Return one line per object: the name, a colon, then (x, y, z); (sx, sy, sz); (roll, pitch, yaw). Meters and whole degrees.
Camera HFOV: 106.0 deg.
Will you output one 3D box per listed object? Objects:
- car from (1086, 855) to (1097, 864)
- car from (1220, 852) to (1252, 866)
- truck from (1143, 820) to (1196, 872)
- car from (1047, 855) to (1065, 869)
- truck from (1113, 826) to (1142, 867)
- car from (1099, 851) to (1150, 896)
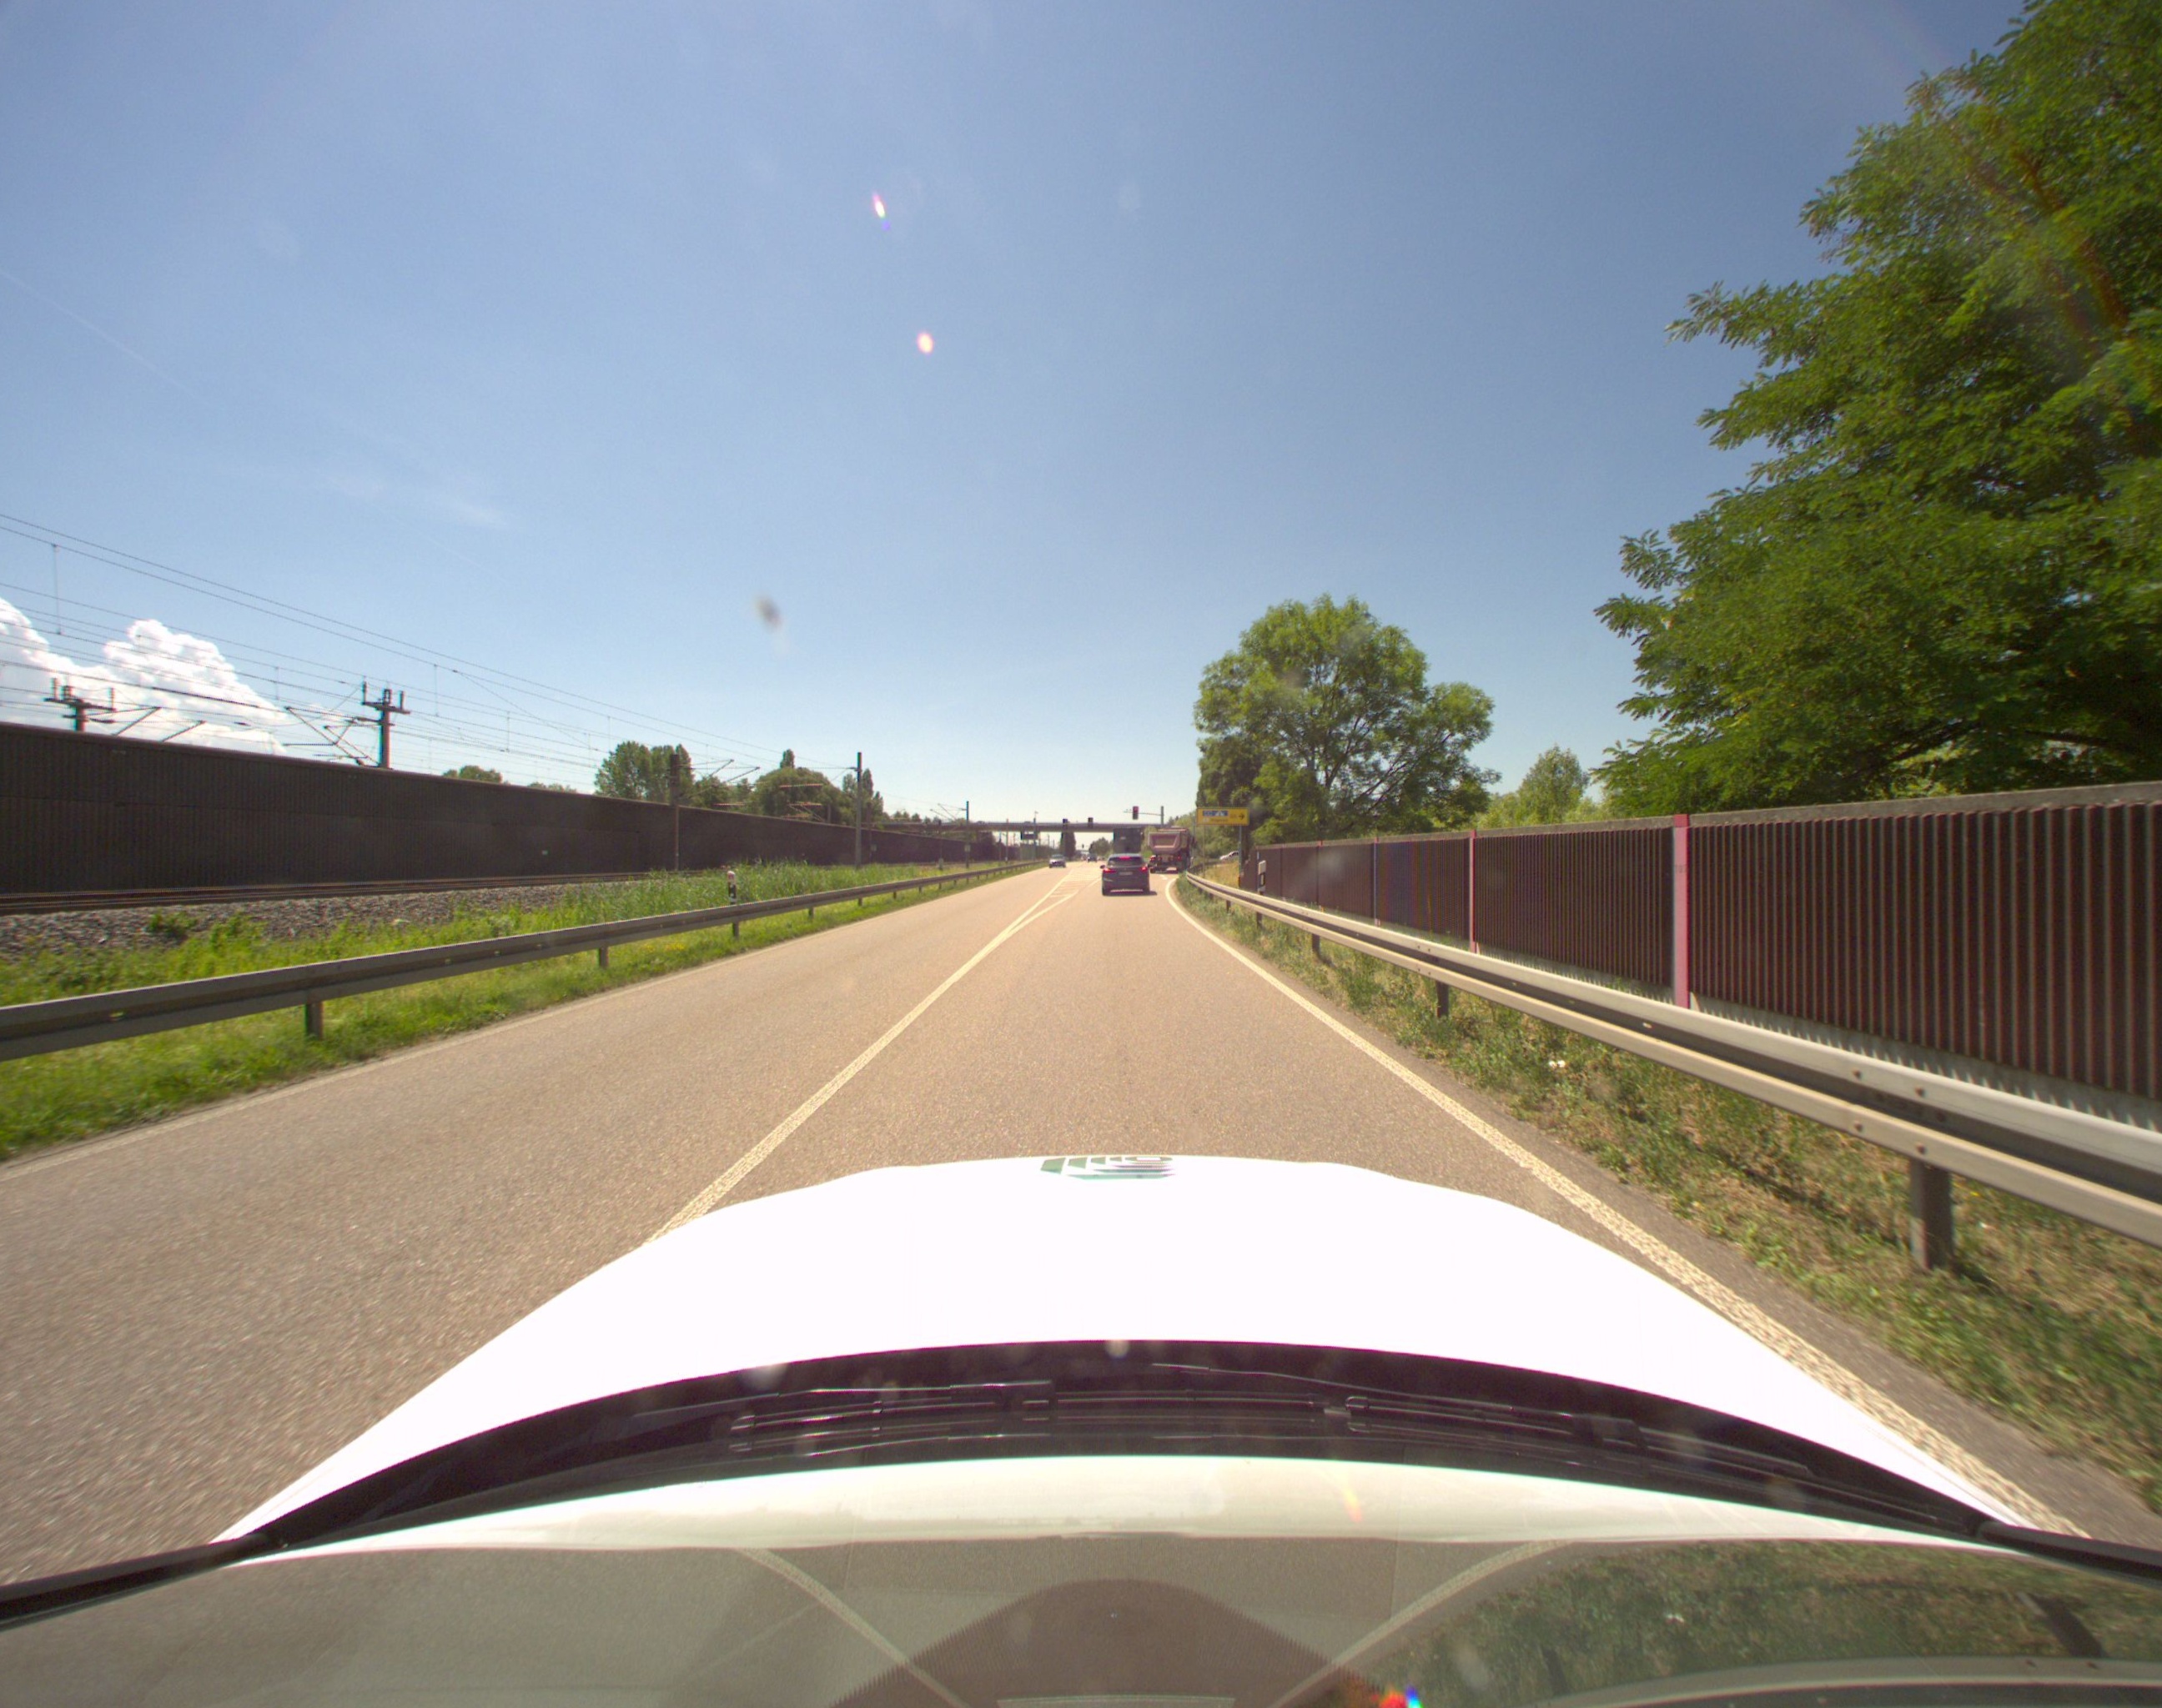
car: (2.157, 1.071, 166.513); (1.919, 1.767, 4.602); (0, 1, 3)
car: (19.055, 0.582, 100.141); (3.693, 1.632, 1.735); (-1, 0, 1)
truck: (7.285, -0.573, 65.559); (2.814, 3.821, 11.927); (-1, 0, 13)
car: (-2.774, 0.850, 91.475); (1.859, 1.485, 4.886); (-1, 0, 0)
truck: (4.444, -0.715, 78.760); (2.579, 3.737, 9.581); (-1, 0, 2)
car: (1.679, 0.713, 31.941); (1.837, 1.623, 4.228); (-1, 0, 3)
